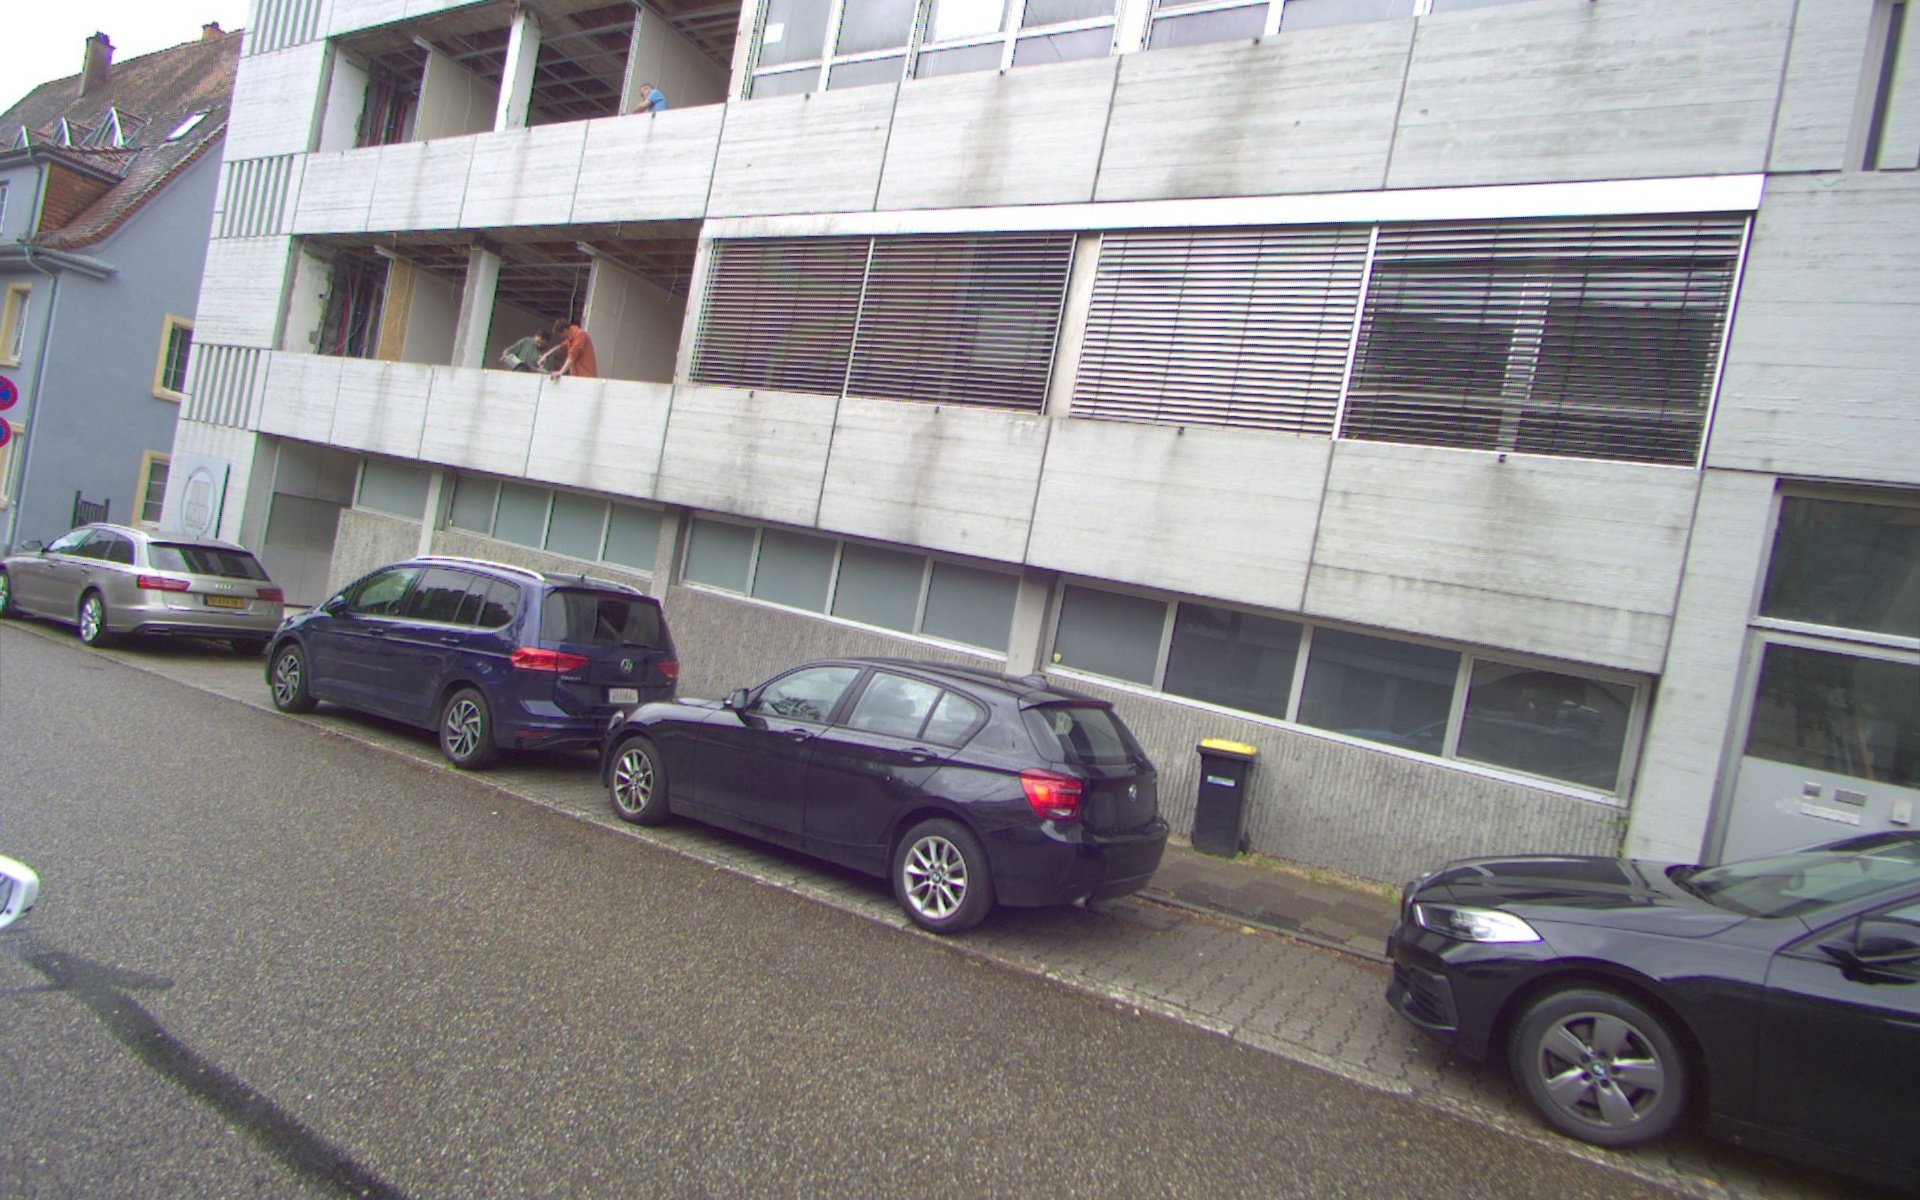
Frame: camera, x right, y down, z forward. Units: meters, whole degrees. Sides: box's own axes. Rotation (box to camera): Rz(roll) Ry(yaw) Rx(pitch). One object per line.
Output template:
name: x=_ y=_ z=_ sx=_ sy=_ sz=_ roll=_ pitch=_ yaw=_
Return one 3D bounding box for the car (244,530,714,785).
car: x=-4.466 y=0.436 z=9.214 sx=4.090 sy=1.618 sz=1.732 roll=7 pitch=-1 yaw=30

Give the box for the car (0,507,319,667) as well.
car: x=-10.750 y=-0.200 z=13.230 sx=4.449 sy=1.465 sz=1.966 roll=7 pitch=-1 yaw=30

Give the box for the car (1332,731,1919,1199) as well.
car: x=4.066 y=1.639 z=4.158 sx=4.367 sy=1.451 sz=1.999 roll=7 pitch=-2 yaw=30

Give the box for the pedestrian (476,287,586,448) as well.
pedestrian: x=-6.180 y=-3.319 z=14.526 sx=0.847 sy=2.036 sz=0.909 roll=6 pitch=-2 yaw=31

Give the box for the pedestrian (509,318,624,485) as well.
pedestrian: x=-5.409 y=-2.692 z=13.855 sx=0.847 sy=2.036 sz=0.909 roll=6 pitch=-2 yaw=31

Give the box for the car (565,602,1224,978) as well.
car: x=-0.595 y=1.023 z=6.877 sx=4.183 sy=1.465 sz=1.750 roll=7 pitch=-1 yaw=34
